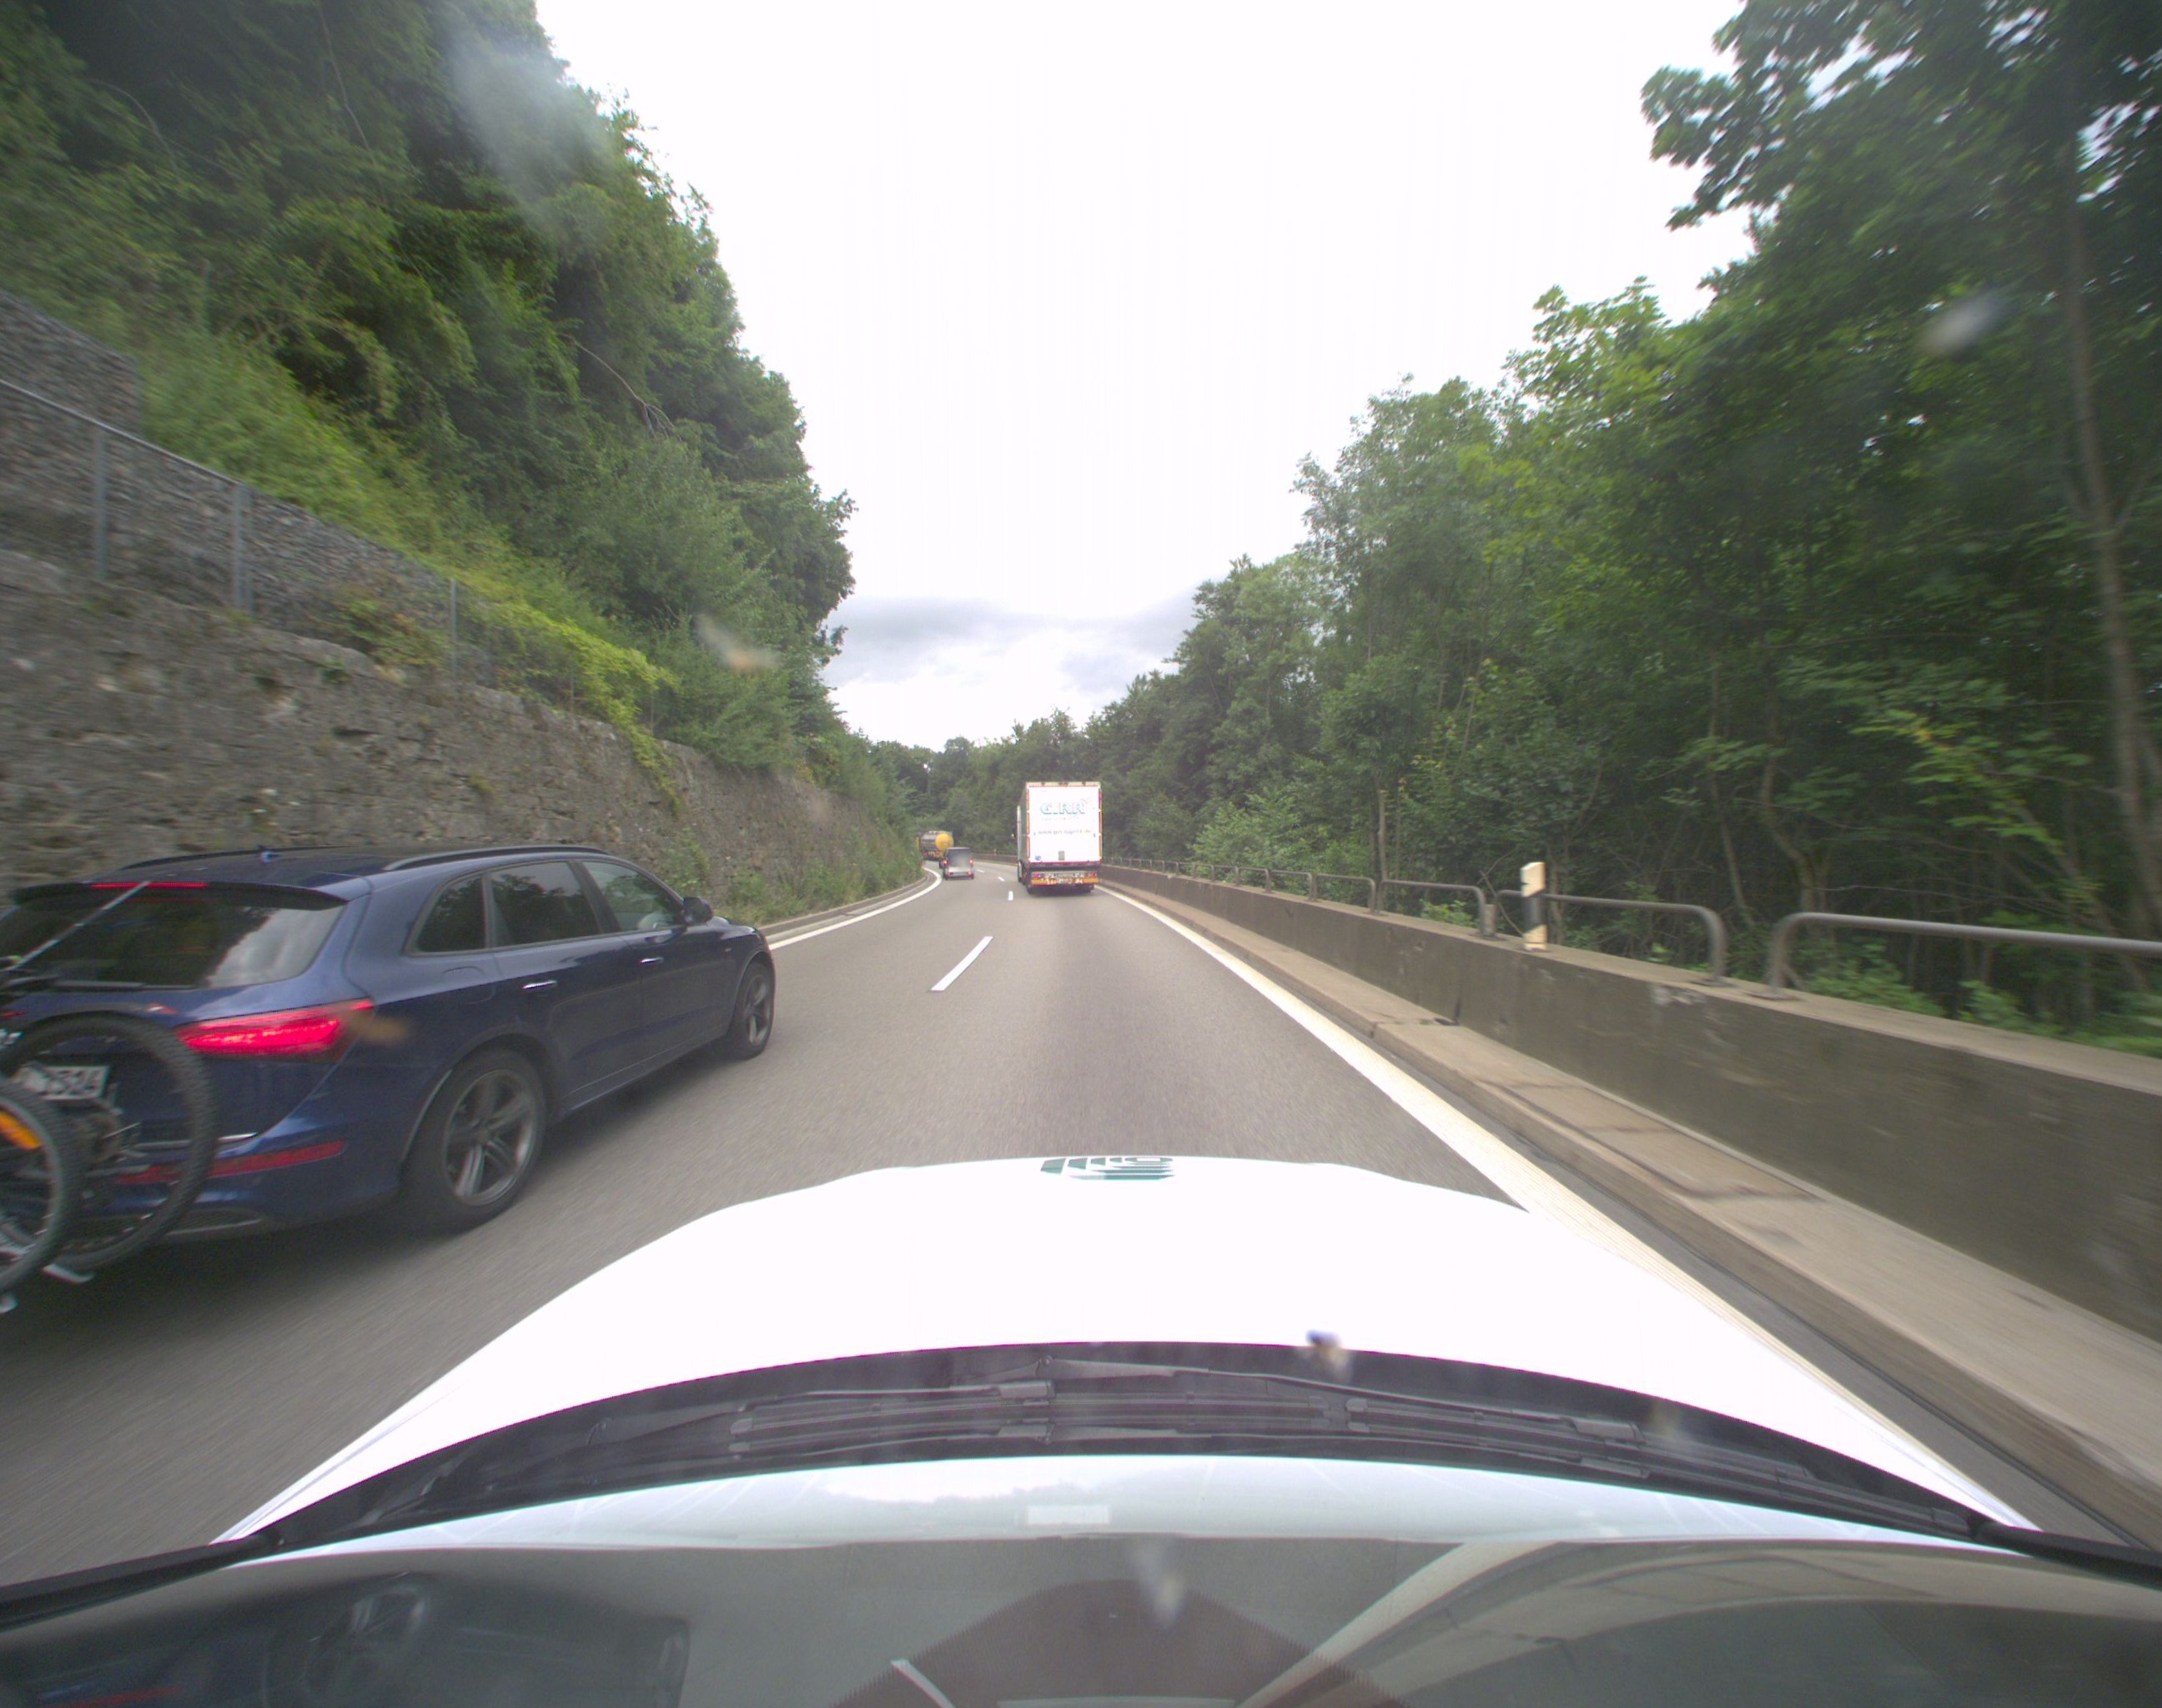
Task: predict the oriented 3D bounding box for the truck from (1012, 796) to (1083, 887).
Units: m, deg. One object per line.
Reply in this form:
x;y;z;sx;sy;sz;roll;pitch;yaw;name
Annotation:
-1.774;-0.655;39.869;3.052;3.985;7.176;2;1;-5;truck

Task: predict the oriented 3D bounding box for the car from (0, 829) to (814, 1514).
-3.428;0.754;4.424;1.964;1.593;5.586;2;-1;1;car

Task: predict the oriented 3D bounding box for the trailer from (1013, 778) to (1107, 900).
-1.203;-0.664;33.433;3.052;3.985;12.117;2;1;-5;trailer

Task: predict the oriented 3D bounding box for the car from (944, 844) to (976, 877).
-7.912;0.442;53.598;1.992;2.014;5.524;0;-1;-8;car

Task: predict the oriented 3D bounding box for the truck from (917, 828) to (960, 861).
-18.623;-1.112;105.598;3.068;3.986;13.605;-1;0;-20;truck

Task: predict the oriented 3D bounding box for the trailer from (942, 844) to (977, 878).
-7.313;0.437;49.166;1.970;1.939;3.421;0;-1;-8;trailer
